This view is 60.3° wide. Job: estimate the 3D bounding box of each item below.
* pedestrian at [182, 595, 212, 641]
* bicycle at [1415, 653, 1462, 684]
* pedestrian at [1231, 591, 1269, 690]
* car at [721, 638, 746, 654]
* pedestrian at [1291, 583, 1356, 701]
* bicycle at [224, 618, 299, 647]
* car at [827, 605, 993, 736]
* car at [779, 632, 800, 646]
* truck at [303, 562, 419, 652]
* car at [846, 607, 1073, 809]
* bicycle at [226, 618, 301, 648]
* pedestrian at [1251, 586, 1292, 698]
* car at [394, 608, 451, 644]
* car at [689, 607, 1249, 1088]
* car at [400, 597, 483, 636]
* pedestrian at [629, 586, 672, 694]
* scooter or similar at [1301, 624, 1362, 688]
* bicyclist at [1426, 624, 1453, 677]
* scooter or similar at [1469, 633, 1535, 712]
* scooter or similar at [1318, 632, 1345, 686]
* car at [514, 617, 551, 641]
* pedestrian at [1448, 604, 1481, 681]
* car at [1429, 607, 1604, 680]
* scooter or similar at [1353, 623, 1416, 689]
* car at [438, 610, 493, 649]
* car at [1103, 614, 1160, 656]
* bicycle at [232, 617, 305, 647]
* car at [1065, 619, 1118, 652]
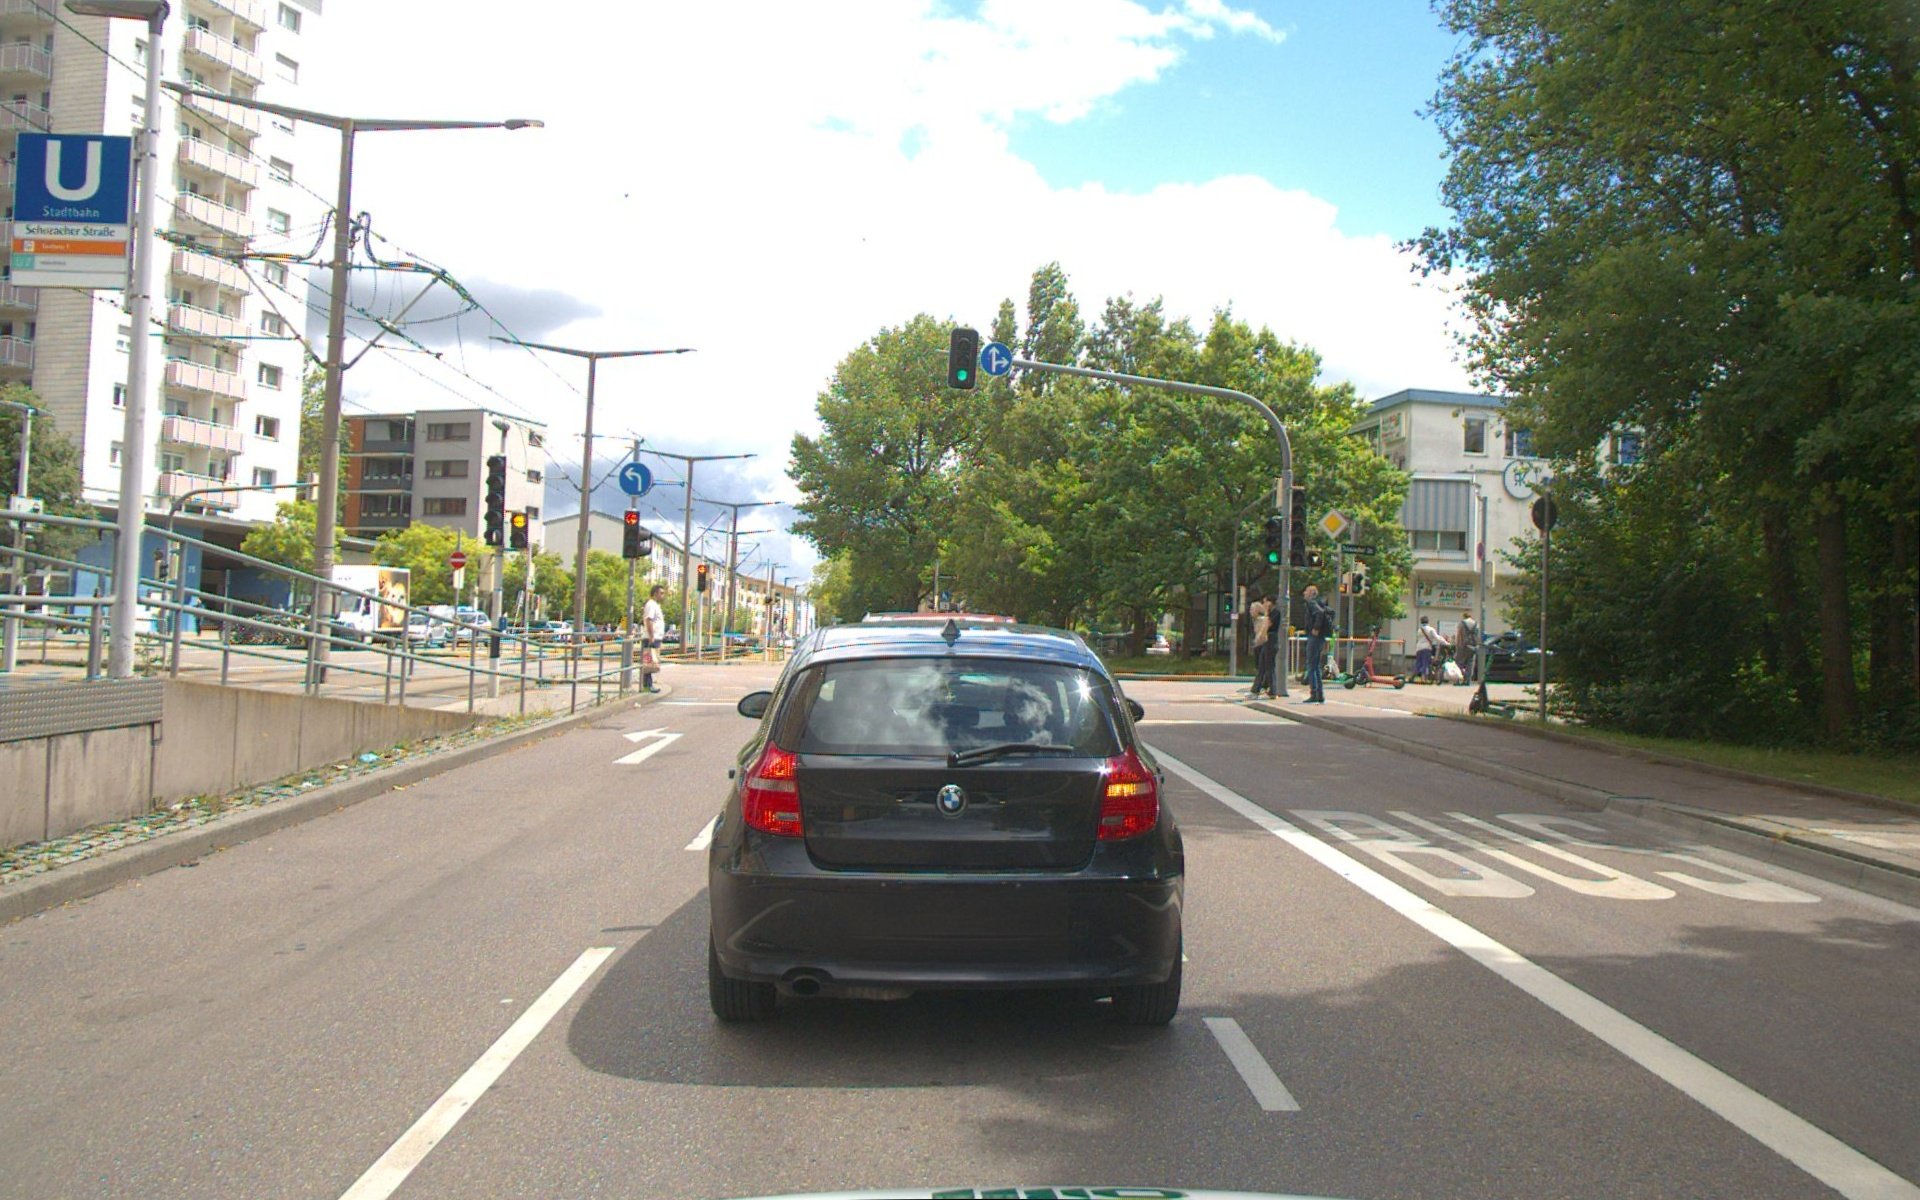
[{"bbox_3d":[-34.833,0.812,75.520,0.841,2.049,0.847,1,-1,17],"label":"pedestrian"},{"bbox_3d":[10.782,1.539,37.293,0.522,0.620,1.590,2,-1,-2],"label":"bicycle"},{"bbox_3d":[5.352,0.734,30.526,0.622,1.797,0.518,1,-1,5],"label":"pedestrian"},{"bbox_3d":[-23.025,4.639,168.276,1.616,1.561,3.873,1,-1,5],"label":"car"},{"bbox_3d":[6.028,0.686,27.480,0.988,1.909,0.798,1,-1,8],"label":"pedestrian"},{"bbox_3d":[-26.537,1.244,62.818,2.528,1.026,0.748,3,-3,-29],"label":"bicycle"},{"bbox_3d":[-0.598,0.813,21.068,1.862,1.447,4.538,1,0,-1],"label":"car"},{"bbox_3d":[-19.242,4.374,186.687,1.616,1.561,3.873,1,-1,5],"label":"car"},{"bbox_3d":[-22.935,0.287,63.701,2.237,3.172,7.311,2,-1,-5],"label":"truck"},{"bbox_3d":[-0.027,0.790,13.608,1.605,1.424,3.419,1,0,-1],"label":"car"},{"bbox_3d":[-26.112,1.248,62.022,2.528,1.026,0.748,3,-3,-29],"label":"bicycle"},{"bbox_3d":[5.399,0.727,28.708,0.622,1.909,0.518,1,-1,5],"label":"pedestrian"},{"bbox_3d":[-23.454,1.126,72.321,1.379,1.486,3.772,2,-1,-3],"label":"car"},{"bbox_3d":[0.008,0.758,6.705,1.666,1.424,3.419,1,0,-1],"label":"car"},{"bbox_3d":[-27.865,0.909,88.940,3.893,2.009,1.630,2,-1,-43],"label":"car"},{"bbox_3d":[-5.146,0.662,27.549,0.675,1.764,0.686,1,-1,-10],"label":"pedestrian"},{"bbox_3d":[7.437,1.118,33.128,1.087,1.257,0.539,1,-1,1],"label":"scooter or similar"},{"bbox_3d":[10.785,1.126,37.199,0.491,1.177,0.399,1,-1,0],"label":"bicyclist"},{"bbox_3d":[9.368,1.247,28.601,0.872,1.251,0.454,6,-1,-1],"label":"scooter or similar"},{"bbox_3d":[7.866,1.239,34.988,0.536,1.082,1.263,1,0,13],"label":"scooter or similar"},{"bbox_3d":[-28.804,1.944,111.441,1.559,1.500,3.773,2,-1,-2],"label":"car"},{"bbox_3d":[11.547,0.972,37.838,0.644,1.743,0.461,1,-1,25],"label":"pedestrian"},{"bbox_3d":[16.360,1.269,48.729,4.450,2.049,1.996,1,-1,-8],"label":"car"},{"bbox_3d":[8.720,1.142,34.006,1.127,1.294,0.555,2,-1,1],"label":"scooter or similar"},{"bbox_3d":[-23.694,1.388,79.306,1.559,1.787,3.773,2,-1,-2],"label":"car"},{"bbox_3d":[8.229,1.669,79.739,1.694,1.904,3.991,2,-1,-9],"label":"car"},{"bbox_3d":[-26.709,1.245,63.917,2.528,1.026,0.748,3,-3,-29],"label":"bicycle"},{"bbox_3d":[7.178,1.943,90.750,1.830,1.691,3.988,2,-1,-12],"label":"car"}]
